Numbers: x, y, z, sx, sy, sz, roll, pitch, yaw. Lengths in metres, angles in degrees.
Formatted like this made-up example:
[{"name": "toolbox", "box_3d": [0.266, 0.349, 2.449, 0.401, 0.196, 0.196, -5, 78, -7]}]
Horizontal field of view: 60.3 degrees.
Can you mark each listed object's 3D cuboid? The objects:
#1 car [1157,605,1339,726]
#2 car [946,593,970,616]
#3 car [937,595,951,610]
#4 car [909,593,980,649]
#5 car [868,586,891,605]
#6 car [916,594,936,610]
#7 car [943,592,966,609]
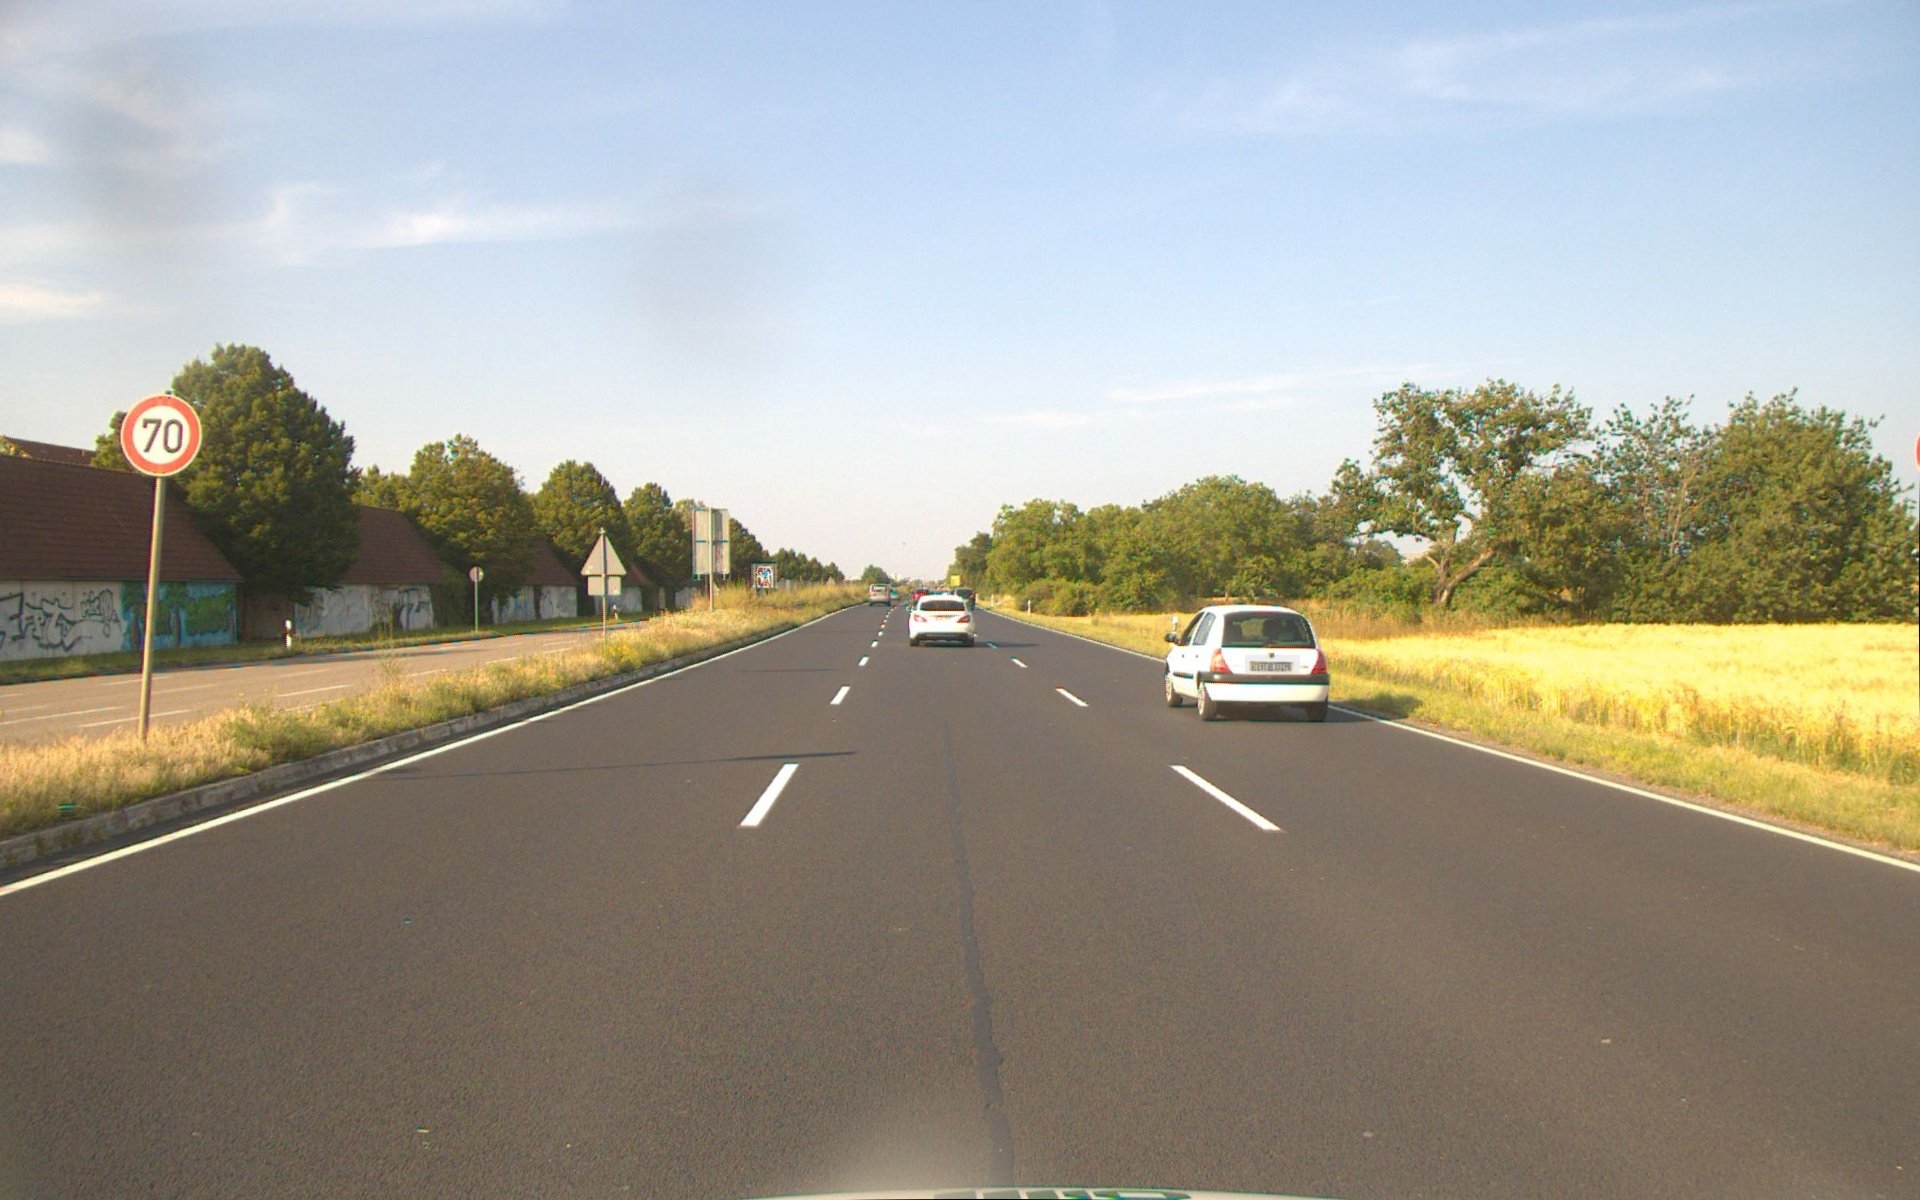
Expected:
[{"name": "car", "box_3d": [3.661, 0.796, 21.631, 1.584, 1.411, 3.950, 1, -1, -2]}, {"name": "car", "box_3d": [-0.162, 0.352, 128.949, 1.791, 1.758, 3.999, 1, -1, -1]}, {"name": "car", "box_3d": [-2.032, 0.328, 210.016, 1.766, 1.937, 3.559, 1, -1, 0]}, {"name": "car", "box_3d": [-0.476, 0.600, 48.007, 1.953, 1.543, 3.999, 1, -1, -1]}, {"name": "car", "box_3d": [-6.962, -0.372, 143.684, 1.722, 1.646, 4.000, 1, -1, 1]}, {"name": "car", "box_3d": [-3.156, 0.183, 151.583, 1.775, 1.461, 3.857, 1, -1, -2]}, {"name": "car", "box_3d": [-0.547, 0.029, 165.035, 1.954, 1.613, 4.280, 1, -1, -4]}]
